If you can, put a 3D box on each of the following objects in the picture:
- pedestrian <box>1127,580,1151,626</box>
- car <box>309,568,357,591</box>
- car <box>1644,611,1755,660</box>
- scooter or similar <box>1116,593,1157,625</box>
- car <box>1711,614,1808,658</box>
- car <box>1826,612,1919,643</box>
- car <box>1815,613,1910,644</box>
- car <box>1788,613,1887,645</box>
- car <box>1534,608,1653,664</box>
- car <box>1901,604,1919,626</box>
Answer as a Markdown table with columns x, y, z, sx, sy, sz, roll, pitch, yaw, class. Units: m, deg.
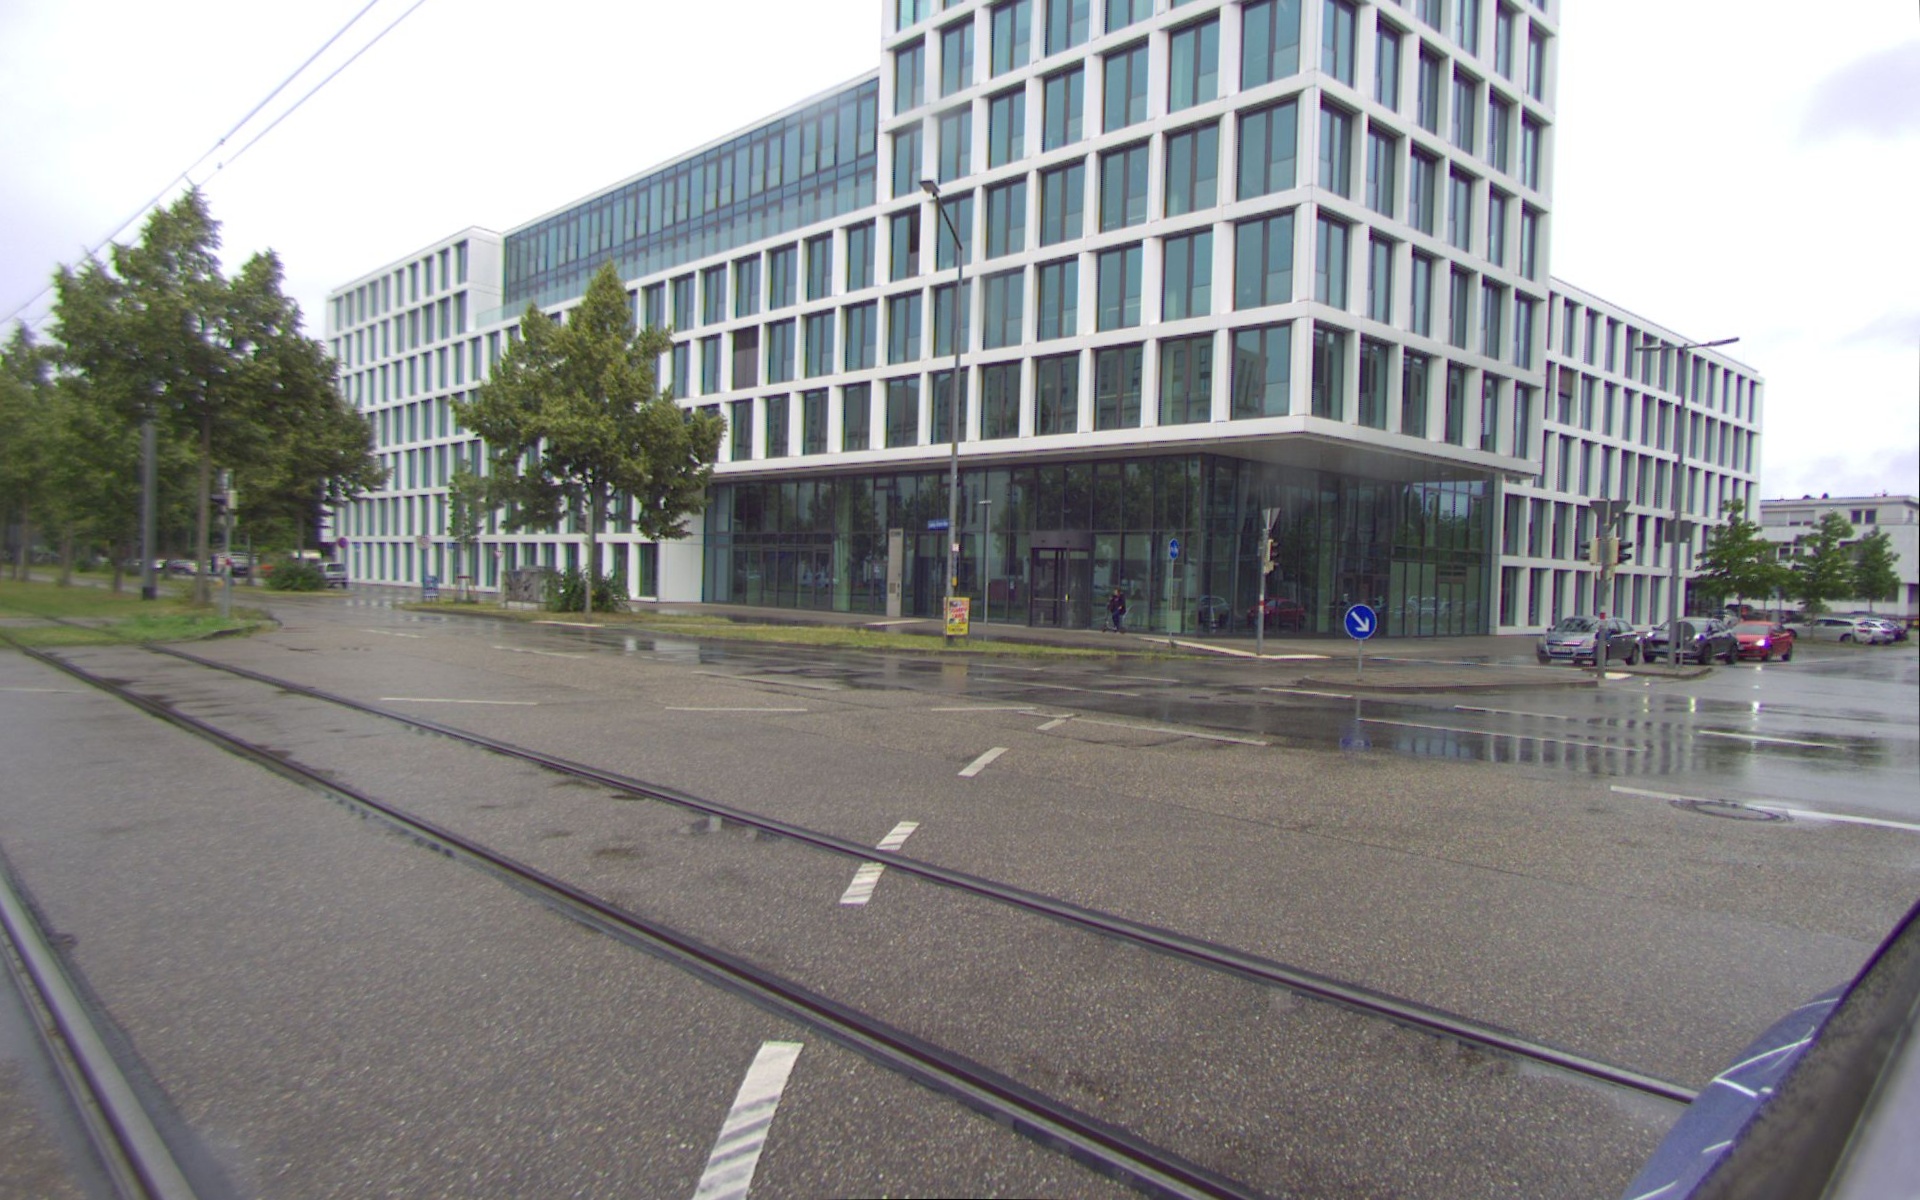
| x | y | z | sx | sy | sz | roll | pitch | yaw | class |
| --- | --- | --- | --- | --- | --- | --- | --- | --- | --- |
| 6.615 | 0.091 | 37.422 | 0.544 | 1.664 | 0.625 | 4 | 2 | 41 | pedestrian |
| -46.565 | -1.477 | 75.127 | 4.213 | 1.629 | 1.720 | 0 | 0 | 38 | car |
| 24.664 | 1.122 | 33.711 | 4.018 | 1.454 | 1.887 | -1 | 0 | -37 | car |
| 6.561 | 0.318 | 37.594 | 0.547 | 1.167 | 2.133 | 0 | 0 | 38 | scooter or similar |
| 29.970 | 1.313 | 37.902 | 4.018 | 1.454 | 1.887 | -1 | 0 | -37 | car |
| 55.202 | 1.632 | 61.265 | 1.965 | 1.683 | 3.994 | -1 | 0 | -40 | car |
| 53.225 | 1.657 | 59.729 | 1.965 | 1.683 | 3.994 | -1 | 0 | -40 | car |
| 49.739 | 1.619 | 57.424 | 1.965 | 1.683 | 3.994 | -1 | 0 | -40 | car |
| 18.758 | 1.017 | 29.901 | 4.023 | 1.454 | 1.885 | -1 | 0 | -41 | car |
| 76.172 | 1.197 | 78.814 | 1.965 | 1.683 | 3.994 | -1 | 0 | -40 | car |
